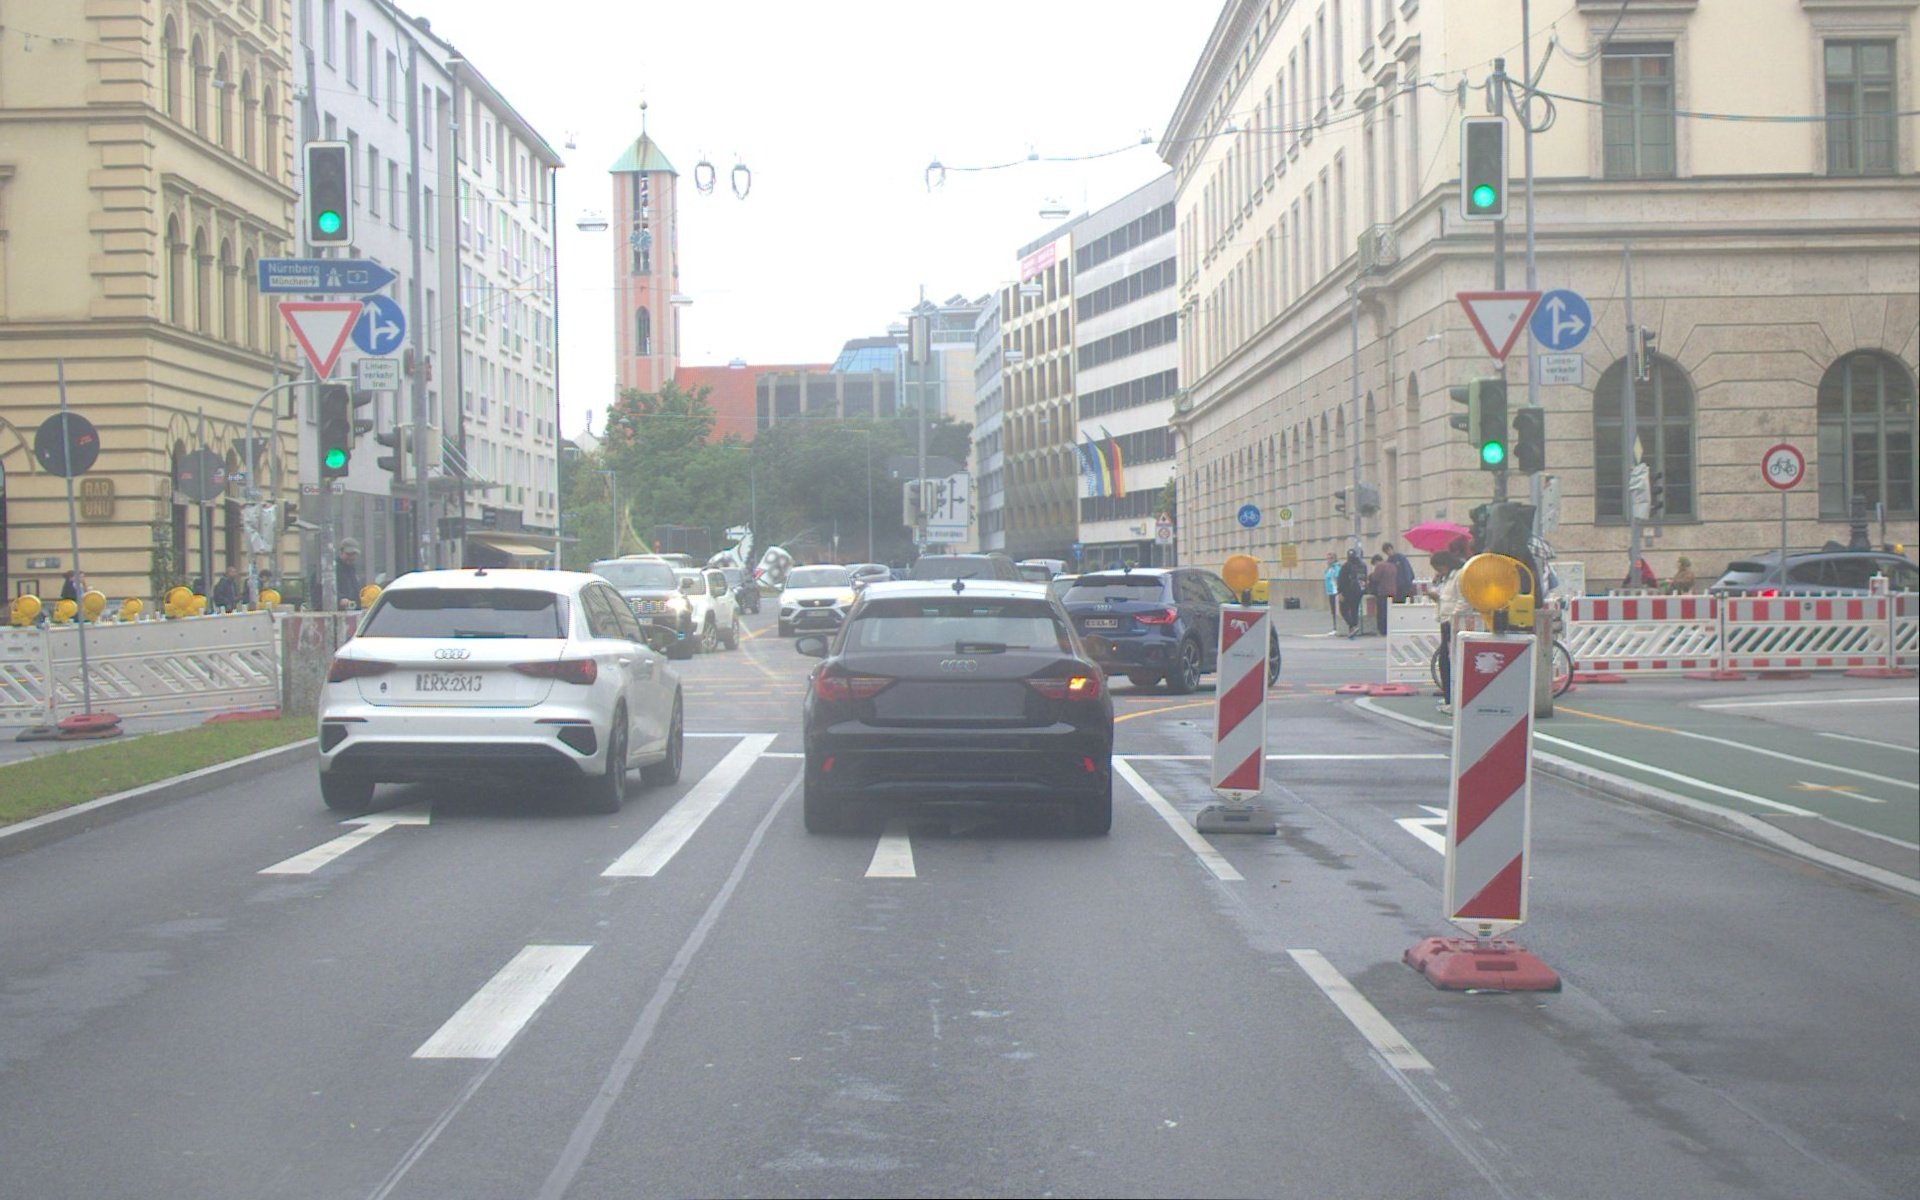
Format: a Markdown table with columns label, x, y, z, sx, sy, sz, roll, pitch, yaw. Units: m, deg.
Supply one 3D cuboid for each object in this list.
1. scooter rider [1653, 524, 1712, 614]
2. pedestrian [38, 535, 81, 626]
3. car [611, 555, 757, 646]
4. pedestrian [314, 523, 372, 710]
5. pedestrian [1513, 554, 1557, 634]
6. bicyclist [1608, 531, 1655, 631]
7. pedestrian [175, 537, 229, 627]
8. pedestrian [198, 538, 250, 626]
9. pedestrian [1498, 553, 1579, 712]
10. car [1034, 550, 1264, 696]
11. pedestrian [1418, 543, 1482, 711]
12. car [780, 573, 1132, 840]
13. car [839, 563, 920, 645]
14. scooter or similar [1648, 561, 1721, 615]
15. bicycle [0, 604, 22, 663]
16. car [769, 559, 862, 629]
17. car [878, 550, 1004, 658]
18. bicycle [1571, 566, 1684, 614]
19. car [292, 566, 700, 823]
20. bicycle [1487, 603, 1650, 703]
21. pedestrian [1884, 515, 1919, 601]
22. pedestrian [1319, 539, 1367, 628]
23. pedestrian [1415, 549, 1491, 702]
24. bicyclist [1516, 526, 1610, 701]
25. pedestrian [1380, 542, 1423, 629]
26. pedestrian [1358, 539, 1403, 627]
| label | x | y | z | sx | sy | sz | roll | pitch | yaw |
| --- | --- | --- | --- | --- | --- | --- | --- | --- | --- |
| scooter rider | 13.096 | -0.555 | 62.306 | 0.932 | 1.617 | 0.592 | 0 | 1 | 1 |
| pedestrian | -17.676 | -0.381 | 67.490 | 0.733 | 1.766 | 0.739 | 0 | 1 | -10 |
| car | -5.306 | -0.012 | 66.545 | 1.794 | 1.672 | 4.231 | -1 | 1 | 10 |
| pedestrian | -5.866 | 0.147 | 32.690 | 0.512 | 1.737 | 1.043 | 0 | 1 | -10 |
| pedestrian | 11.245 | -0.115 | 67.282 | 0.817 | 1.552 | 0.667 | 1 | 1 | 8 |
| bicyclist | 12.432 | -0.359 | 63.642 | 0.744 | 1.836 | 0.660 | 1 | 1 | 3 |
| pedestrian | -15.097 | -0.363 | 68.488 | 0.734 | 1.766 | 0.760 | 1 | 1 | 21 |
| pedestrian | -14.806 | -0.366 | 69.194 | 0.734 | 1.766 | 0.738 | 1 | 1 | 21 |
| pedestrian | 5.774 | 0.319 | 34.350 | 0.702 | 1.562 | 0.682 | 1 | 1 | 2 |
| car | 2.282 | 0.234 | 40.463 | 1.770 | 1.611 | 3.997 | 1 | 1 | 17 |
| pedestrian | 4.754 | 0.257 | 33.370 | 0.531 | 1.614 | 0.674 | 1 | 1 | 2 |
| car | -0.040 | 0.549 | 20.245 | 1.863 | 1.383 | 4.000 | 0 | 1 | -1 |
| car | -2.036 | 0.079 | 87.946 | 1.993 | 2.007 | 4.000 | -1 | 1 | -1 |
| scooter or similar | 13.127 | -0.212 | 62.308 | 1.211 | 0.961 | 0.588 | 0 | 1 | 1 |
| bicycle | -18.961 | 0.650 | 65.143 | 2.191 | 1.095 | 0.600 | -1 | 0 | -24 |
| car | -3.290 | -0.155 | 78.879 | 1.993 | 1.519 | 4.233 | -1 | 1 | -1 |
| car | -0.307 | 0.029 | 53.375 | 1.865 | 1.596 | 3.851 | -1 | 1 | -1 |
| bicycle | 12.353 | -0.186 | 63.656 | 1.972 | 0.876 | 0.661 | 1 | 1 | 3 |
| car | -2.804 | 0.515 | 21.741 | 1.813 | 1.420 | 4.452 | 1 | 1 | 2 |
| bicycle | 6.494 | 0.554 | 36.732 | 1.655 | 1.008 | 0.585 | 1 | 1 | 42 |
| pedestrian | 18.840 | -0.840 | 68.376 | 0.715 | 1.688 | 0.820 | 0 | 1 | 1 |
| pedestrian | 7.632 | -0.333 | 68.484 | 0.818 | 1.749 | 0.679 | 1 | 1 | 16 |
| pedestrian | 5.082 | 0.257 | 35.481 | 0.702 | 1.562 | 0.541 | 1 | 1 | 2 |
| bicyclist | 6.449 | 0.133 | 36.772 | 0.798 | 1.847 | 0.566 | 1 | 1 | 42 |
| pedestrian | 8.949 | -0.290 | 69.691 | 0.584 | 1.749 | 0.818 | 1 | 1 | 31 |
| pedestrian | 8.428 | -0.341 | 68.900 | 0.584 | 1.749 | 0.818 | 1 | 1 | 31 |
